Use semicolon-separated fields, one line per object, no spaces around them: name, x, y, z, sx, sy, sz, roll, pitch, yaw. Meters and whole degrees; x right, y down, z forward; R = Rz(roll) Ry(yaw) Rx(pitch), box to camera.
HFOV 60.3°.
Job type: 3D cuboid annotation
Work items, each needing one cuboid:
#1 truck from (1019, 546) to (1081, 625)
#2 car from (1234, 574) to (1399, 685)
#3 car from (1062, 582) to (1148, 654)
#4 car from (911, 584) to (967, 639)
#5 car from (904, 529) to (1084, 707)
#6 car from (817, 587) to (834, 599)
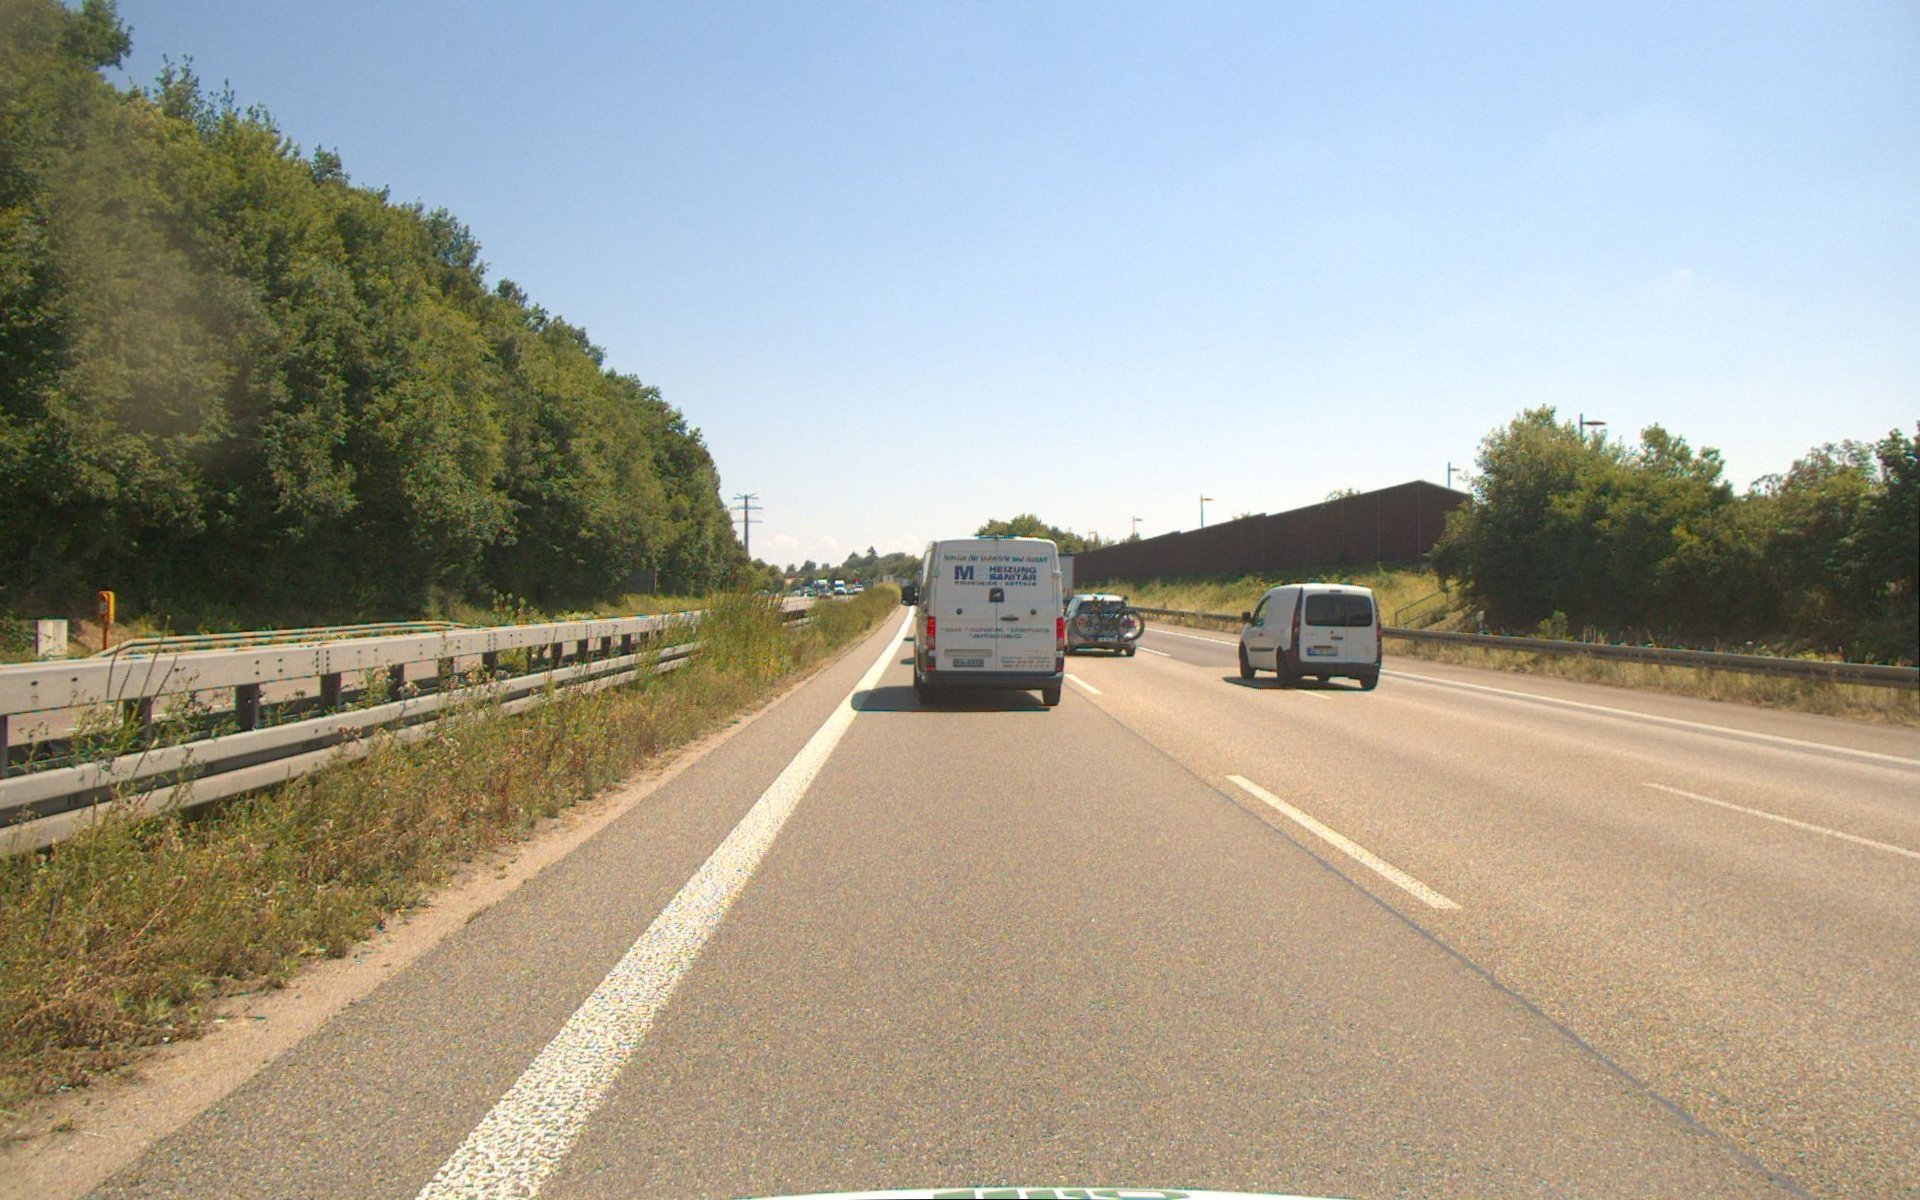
truck;6.145;-0.919;115.436;3.710;5.087;12.519;1;0;1
car;6.430;0.513;30.323;1.912;1.870;4.175;-1;0;-3
car;3.723;0.463;43.136;1.935;1.763;4.089;-1;0;1
car;-0.661;0.378;54.450;1.709;1.731;4.089;-1;0;1
car;0.354;0.254;24.320;2.139;2.293;5.358;1;0;-4
car;-17.825;-0.901;219.305;1.953;1.545;4.721;-2;0;-1
